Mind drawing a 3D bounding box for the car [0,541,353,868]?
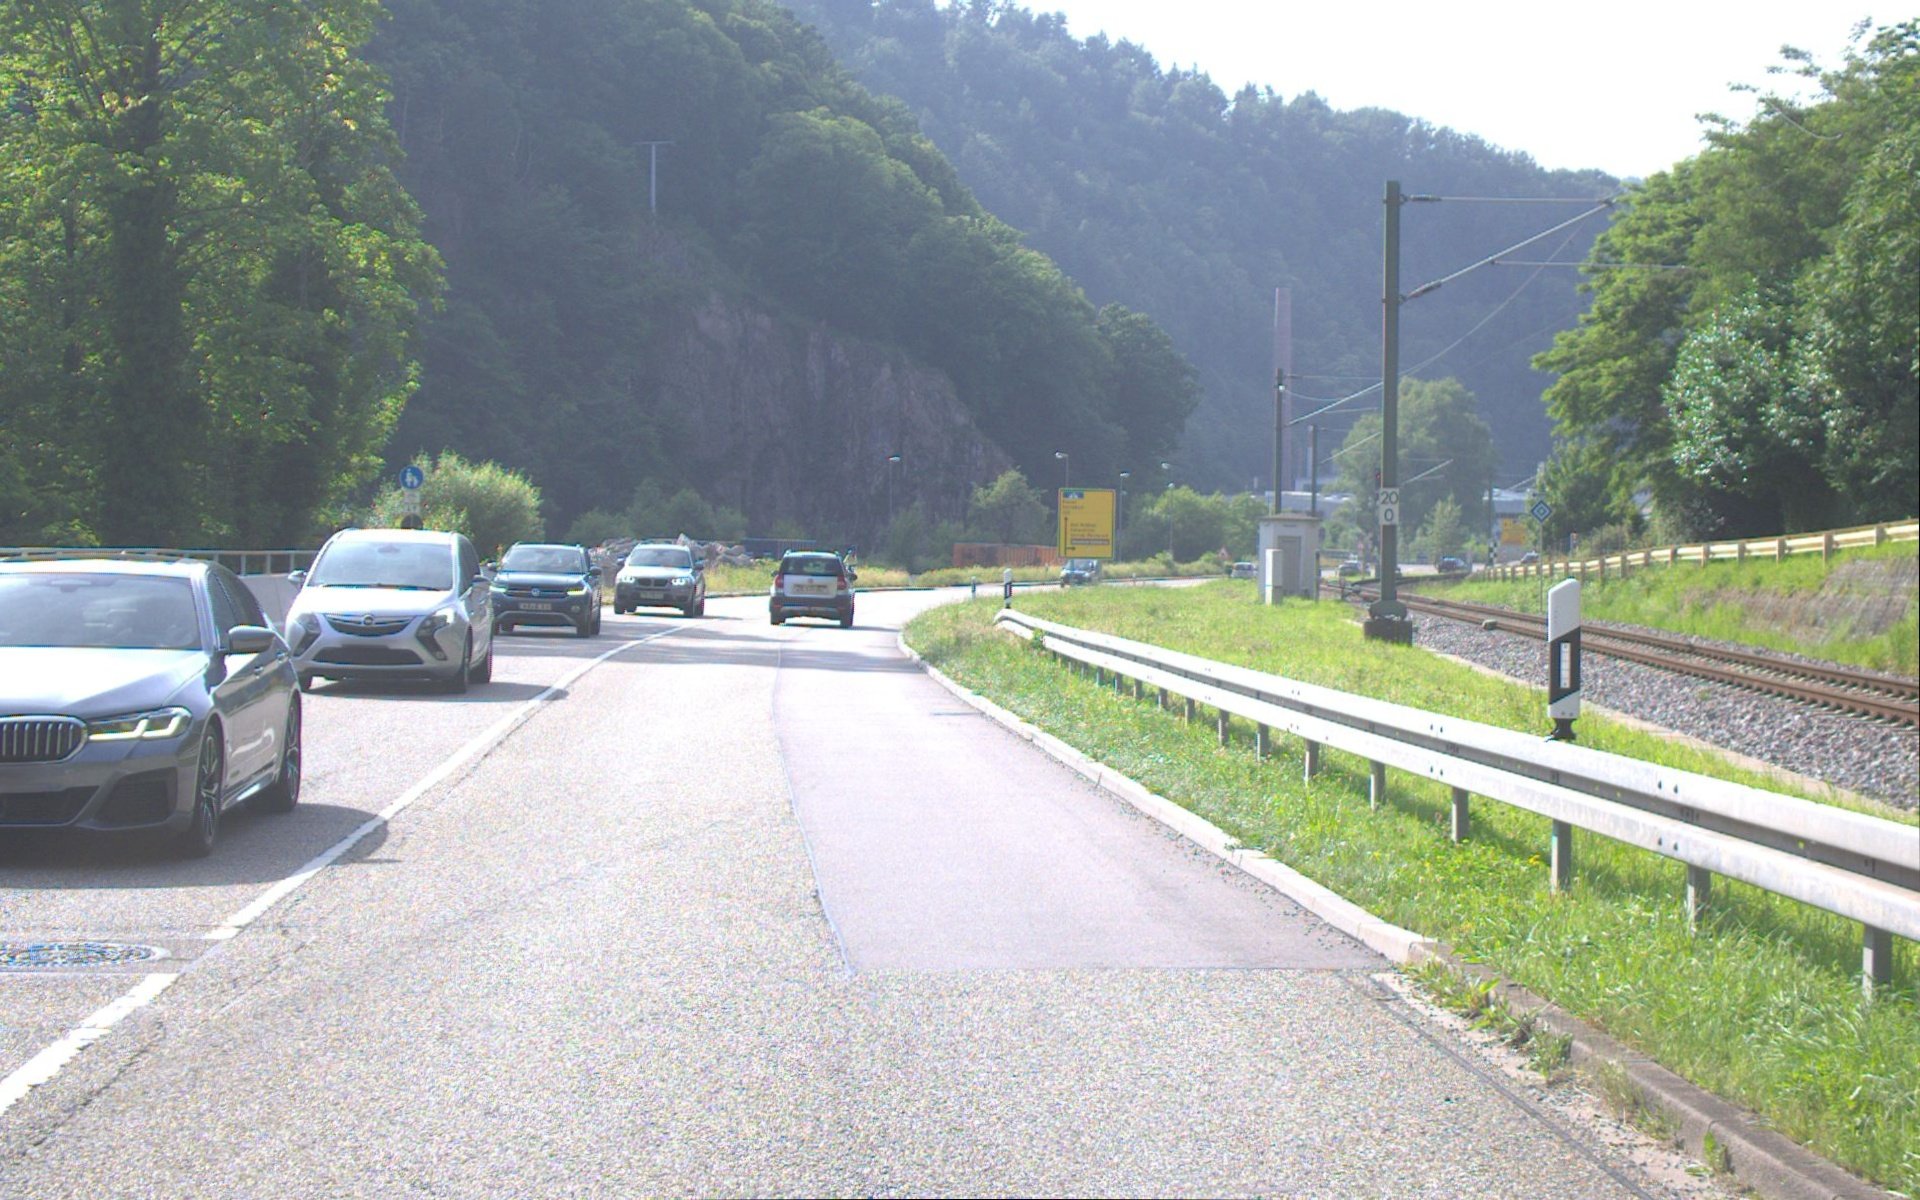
[{"bbox_3d":[-4.517,0.440,18.206,1.837,1.491,4.936,1,1,-2],"label":"car"}]

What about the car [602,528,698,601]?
[{"bbox_3d":[-7.276,-0.851,81.064,1.993,1.623,4.508,2,1,-3],"label":"car"}]

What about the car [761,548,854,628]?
[{"bbox_3d":[-3.432,-0.283,76.764,1.993,1.717,3.991,-1,1,-4],"label":"car"}]

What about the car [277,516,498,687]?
[{"bbox_3d":[-5.907,-0.027,35.926,1.773,1.664,4.648,0,1,-3],"label":"car"}]

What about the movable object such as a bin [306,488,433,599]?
[{"bbox_3d":[-21.770,-2.068,127.278,2.699,3.934,9.990,-1,1,1],"label":"movable object such as a bin"}]

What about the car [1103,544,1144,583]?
[{"bbox_3d":[8.595,-1.947,180.475,1.994,2.007,3.999,-1,1,4],"label":"car"}]

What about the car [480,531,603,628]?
[{"bbox_3d":[-7.160,-0.384,59.108,1.798,1.551,4.332,2,1,-4],"label":"car"}]

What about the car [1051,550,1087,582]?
[{"bbox_3d":[6.358,-2.007,200.567,1.851,1.778,4.684,3,1,4],"label":"car"}]
